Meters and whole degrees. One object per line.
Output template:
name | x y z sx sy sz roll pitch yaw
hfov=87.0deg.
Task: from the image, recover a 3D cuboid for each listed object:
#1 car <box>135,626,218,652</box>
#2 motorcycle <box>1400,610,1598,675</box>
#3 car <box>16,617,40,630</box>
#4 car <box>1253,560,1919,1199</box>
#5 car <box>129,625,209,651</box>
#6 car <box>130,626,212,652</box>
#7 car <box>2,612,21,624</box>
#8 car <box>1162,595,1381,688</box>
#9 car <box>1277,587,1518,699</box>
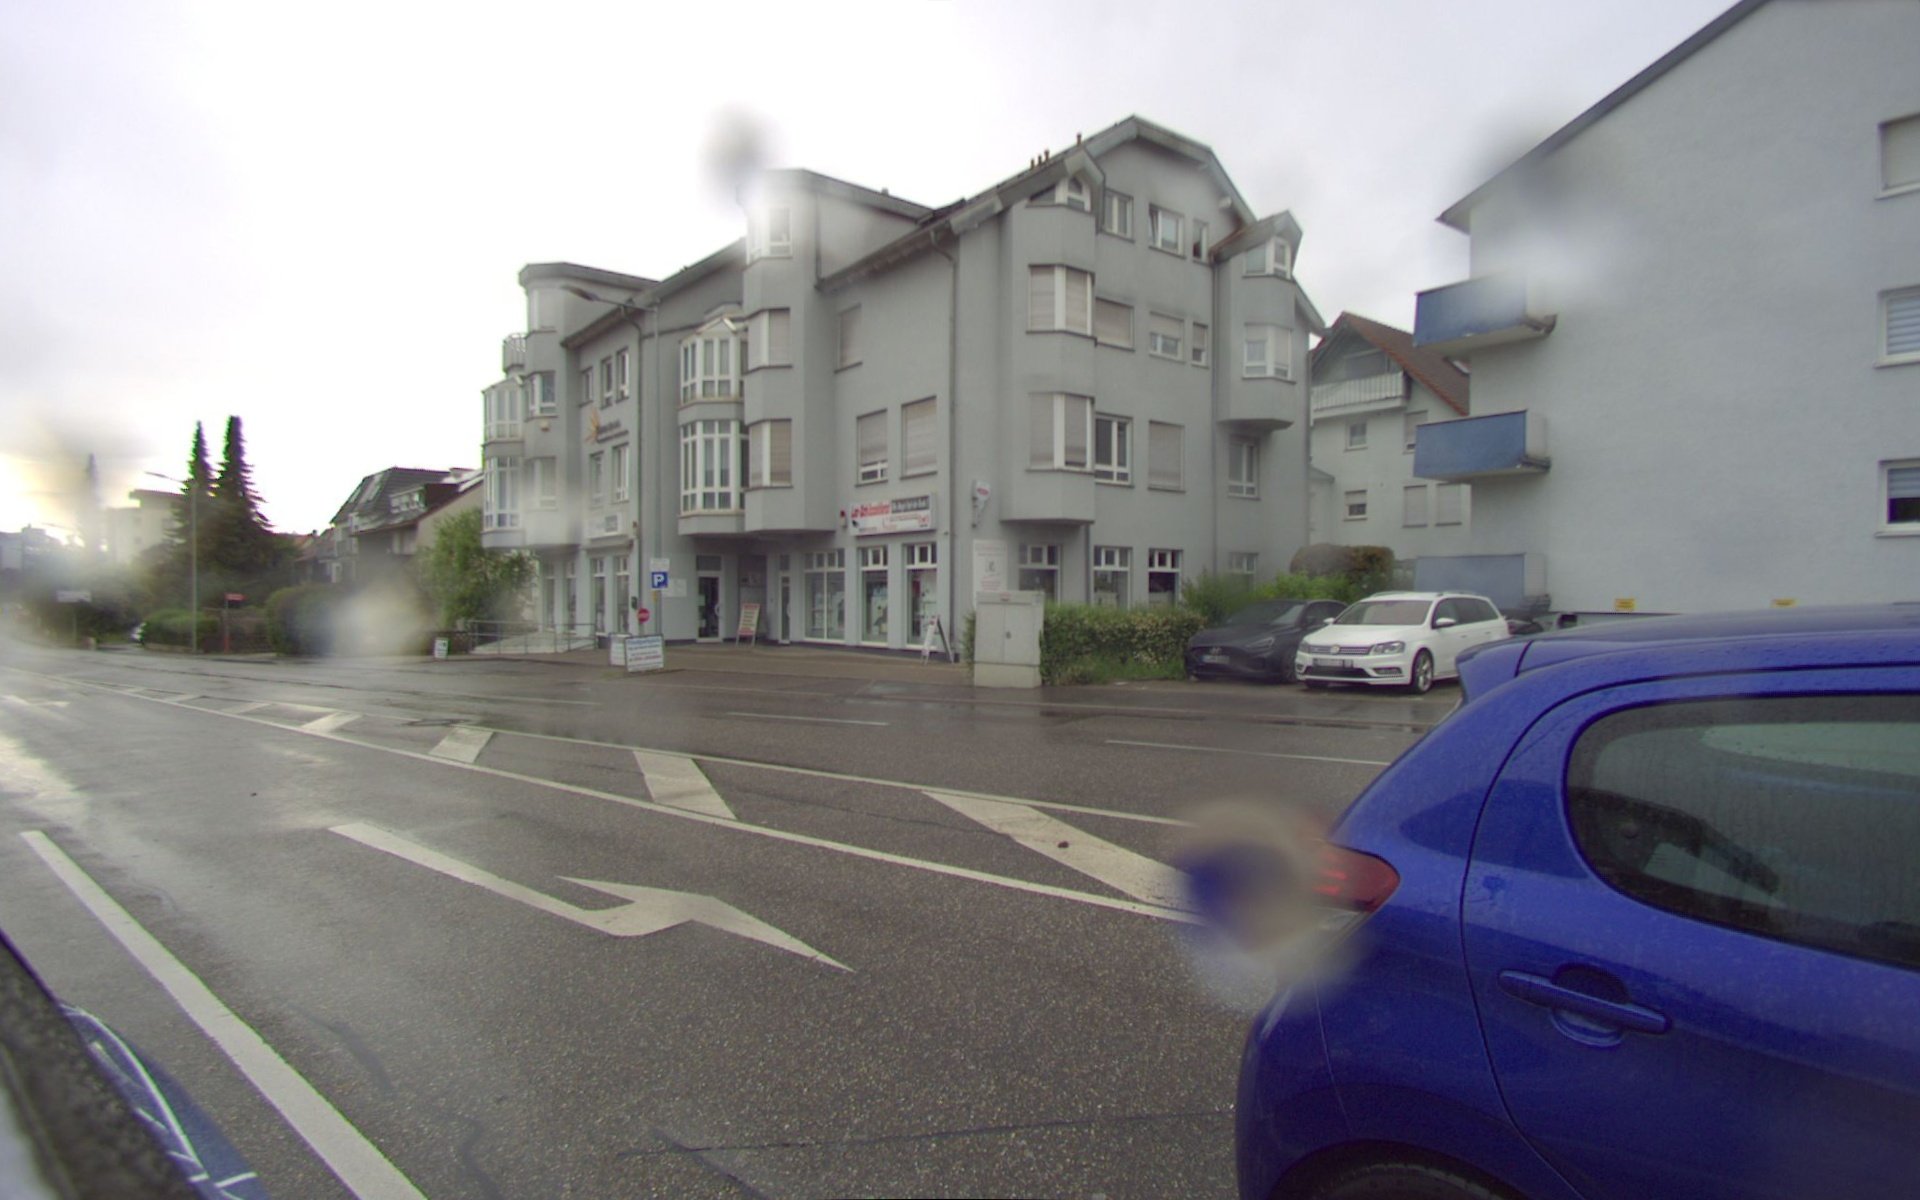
car | -49.626 2.443 64.136 3.978 1.453 1.814 -2 0 -44
motorcycle | 9.768 0.779 18.540 3.112 1.108 0.869 -2 -1 25
car | -124.499 3.170 135.228 1.968 1.628 4.008 0 -1 -38
car | 2.251 0.632 1.231 3.269 1.421 1.562 -2 0 42
car | -53.155 2.505 68.007 4.058 1.557 2.002 -2 0 -44
car | -51.360 2.512 65.929 4.096 1.453 1.892 -2 0 -42
car | -148.768 2.787 158.775 1.824 1.777 4.129 0 -1 -39
car | 5.470 0.657 17.552 3.940 1.421 1.906 0 -1 -43
car | 6.846 0.590 15.632 4.169 1.485 1.906 0 -1 -43
